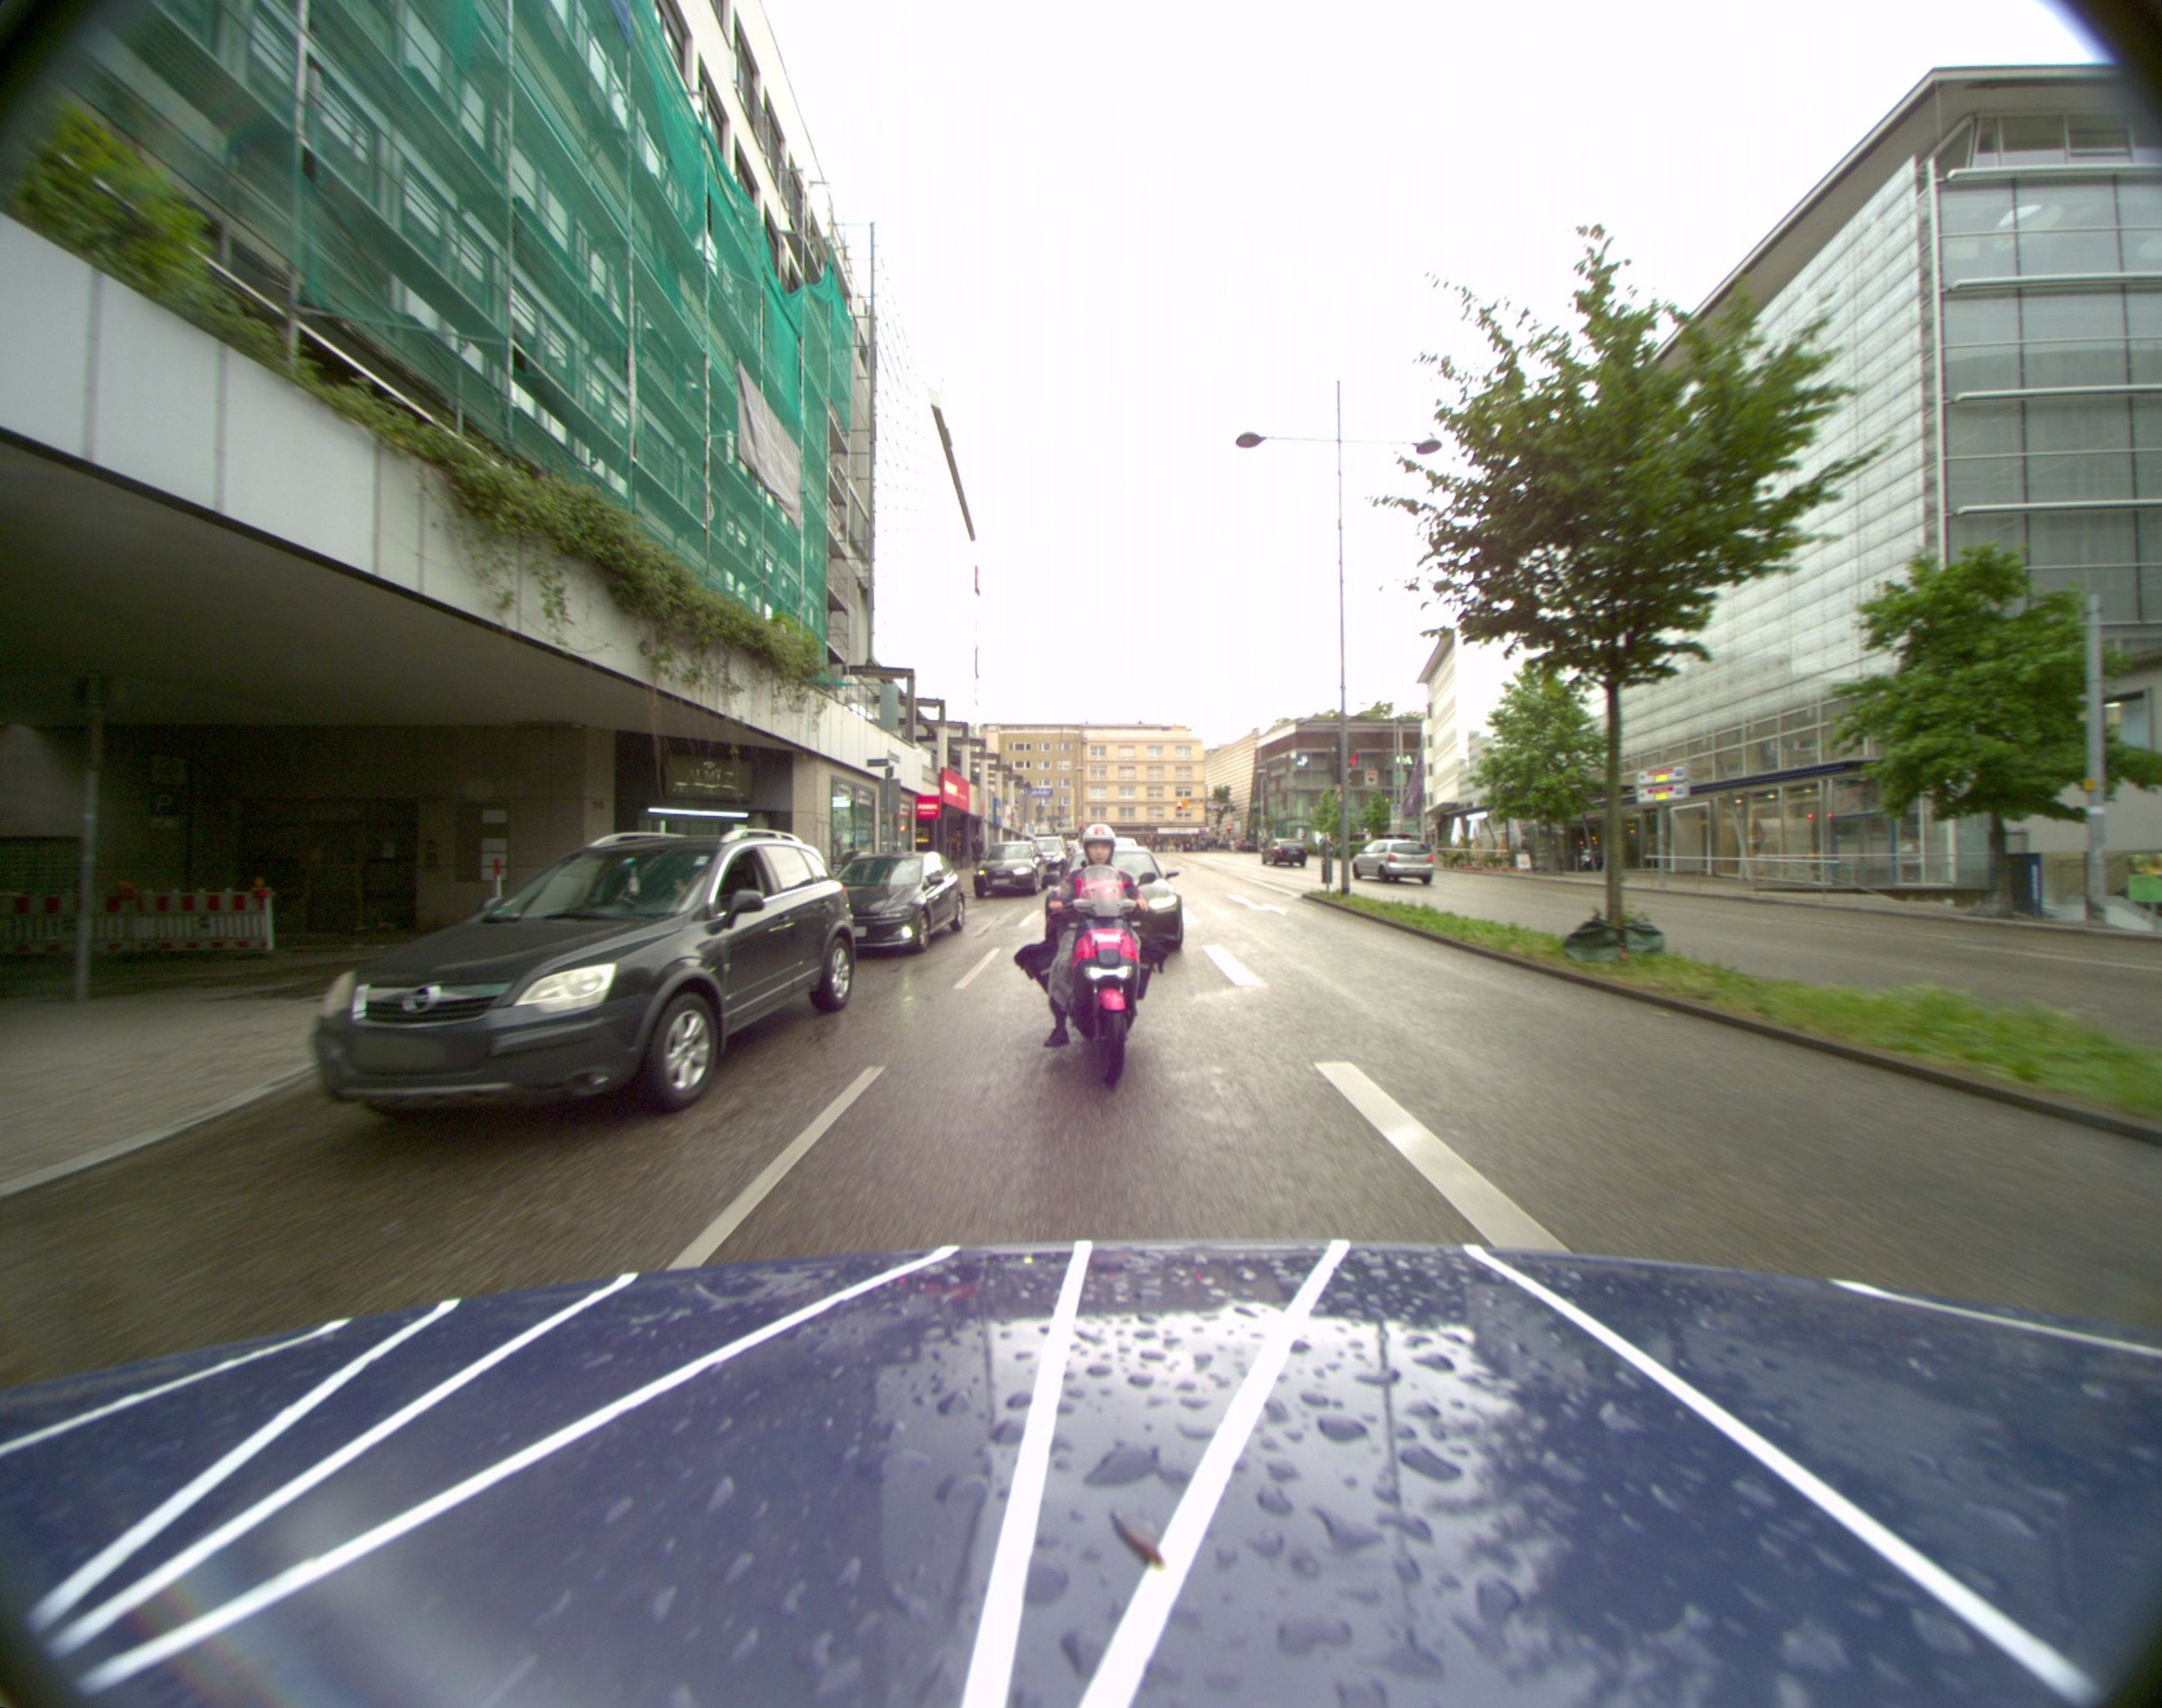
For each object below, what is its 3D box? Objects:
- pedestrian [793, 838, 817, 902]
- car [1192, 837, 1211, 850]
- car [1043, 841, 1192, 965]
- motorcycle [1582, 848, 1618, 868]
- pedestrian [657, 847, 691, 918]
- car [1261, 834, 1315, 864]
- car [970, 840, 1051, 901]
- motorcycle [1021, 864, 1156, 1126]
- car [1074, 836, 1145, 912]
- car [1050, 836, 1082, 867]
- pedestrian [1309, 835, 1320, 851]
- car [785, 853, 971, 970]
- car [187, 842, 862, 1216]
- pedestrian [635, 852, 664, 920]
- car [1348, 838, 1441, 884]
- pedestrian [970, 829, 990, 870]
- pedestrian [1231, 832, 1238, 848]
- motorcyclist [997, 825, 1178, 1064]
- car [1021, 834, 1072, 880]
[{"bbox_3d":[-6.899,0.391,19.001,0.404,1.588,0.464,0,2,0],"label":"pedestrian"},{"bbox_3d":[19.776,-1.765,124.459,2.000,2.002,3.996,-3,2,-7],"label":"car"},{"bbox_3d":[0.503,0.607,12.243,1.937,1.511,4.466,-1,2,0],"label":"car"},{"bbox_3d":[28.474,0.203,41.706,1.571,1.066,0.417,1,2,9],"label":"motorcycle"},{"bbox_3d":[-8.686,0.589,16.222,0.428,1.480,0.524,1,2,1],"label":"pedestrian"},{"bbox_3d":[11.311,-0.315,41.835,1.998,1.500,4.185,0,2,3],"label":"car"},{"bbox_3d":[-2.049,0.415,23.175,1.776,1.575,4.000,-3,2,4],"label":"car"},{"bbox_3d":[0.039,0.904,6.173,0.832,1.479,2.864,0,3,-1],"label":"motorcycle"},{"bbox_3d":[0.663,0.425,19.384,1.632,1.731,3.599,0,2,0],"label":"car"},{"bbox_3d":[-0.852,-0.166,45.816,1.832,1.726,3.999,1,2,0],"label":"car"},{"bbox_3d":[28.171,-1.341,91.600,0.986,1.888,0.739,-3,2,-17],"label":"pedestrian"},{"bbox_3d":[-2.995,0.775,12.070,1.682,1.422,3.776,-2,2,4],"label":"car"},{"bbox_3d":[-3.212,0.799,5.680,1.735,1.669,4.248,-2,2,2],"label":"car"},{"bbox_3d":[-9.590,0.703,16.886,0.525,1.480,0.428,-1,3,-32],"label":"pedestrian"},{"bbox_3d":[10.761,0.186,26.338,1.629,1.429,3.645,0,2,-1],"label":"car"},{"bbox_3d":[-4.659,-0.216,35.107,0.708,1.771,0.640,4,7,1],"label":"pedestrian"},{"bbox_3d":[17.533,-1.621,86.972,0.606,1.831,0.588,-2,2,0],"label":"pedestrian"},{"bbox_3d":[0.053,0.673,6.122,1.296,1.757,0.845,-2,2,0],"label":"motorcyclist"},{"bbox_3d":[-1.351,0.075,30.893,1.832,1.726,3.999,1,2,0],"label":"car"}]
